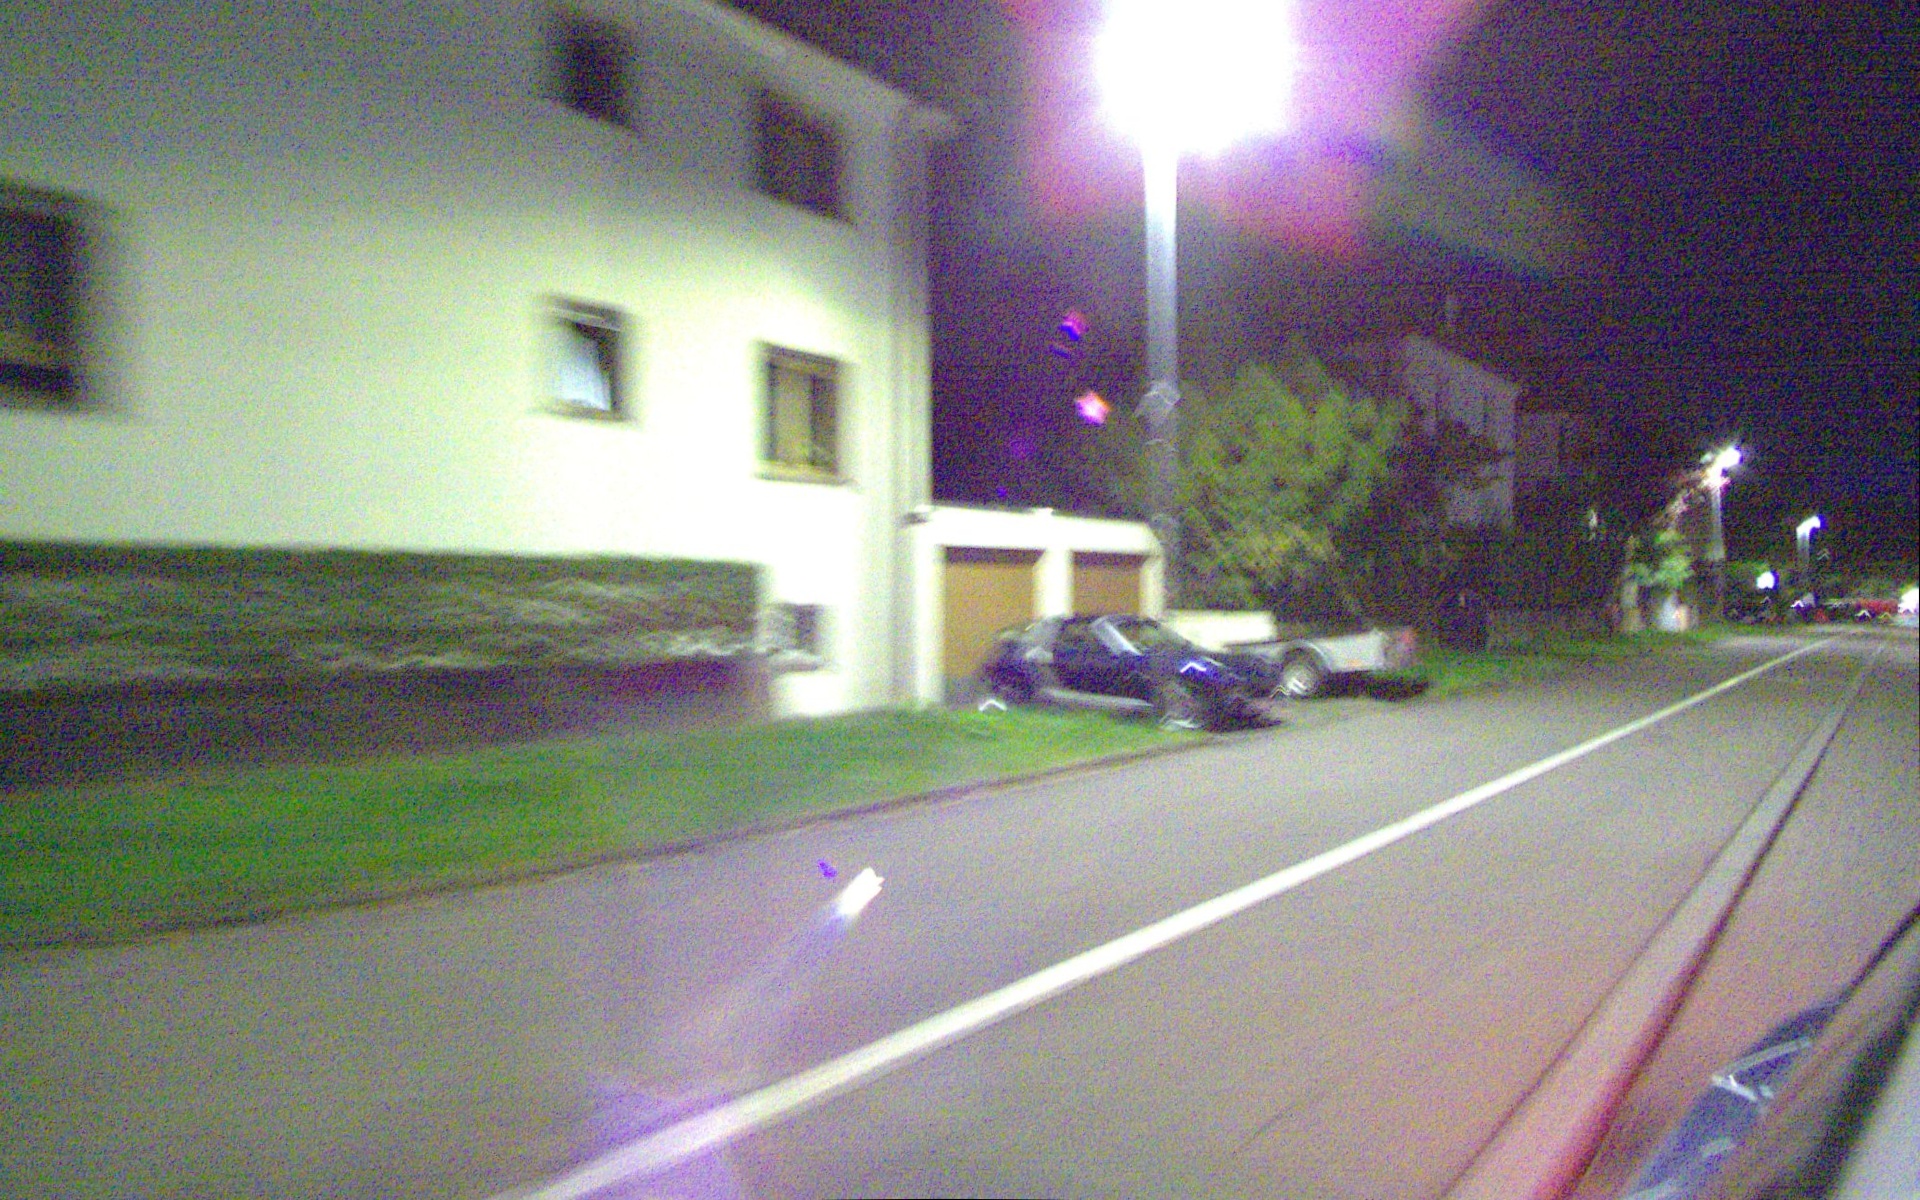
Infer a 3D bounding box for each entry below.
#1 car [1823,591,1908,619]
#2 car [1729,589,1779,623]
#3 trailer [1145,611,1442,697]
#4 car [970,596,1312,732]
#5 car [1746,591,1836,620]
[{"bbox_3d":[65.924,0.323,73.713,1.995,1.839,4.364,1,1,-40],"label":"car"},{"bbox_3d":[39.621,0.292,50.460,1.639,1.579,3.621,2,1,43],"label":"car"},{"bbox_3d":[4.580,0.726,14.141,3.432,1.015,1.923,-3,-2,45],"label":"trailer"},{"bbox_3d":[1.922,0.589,11.237,3.390,1.247,1.698,0,0,43],"label":"car"},{"bbox_3d":[49.129,0.301,59.871,3.907,1.504,1.803,4,2,45],"label":"car"}]
